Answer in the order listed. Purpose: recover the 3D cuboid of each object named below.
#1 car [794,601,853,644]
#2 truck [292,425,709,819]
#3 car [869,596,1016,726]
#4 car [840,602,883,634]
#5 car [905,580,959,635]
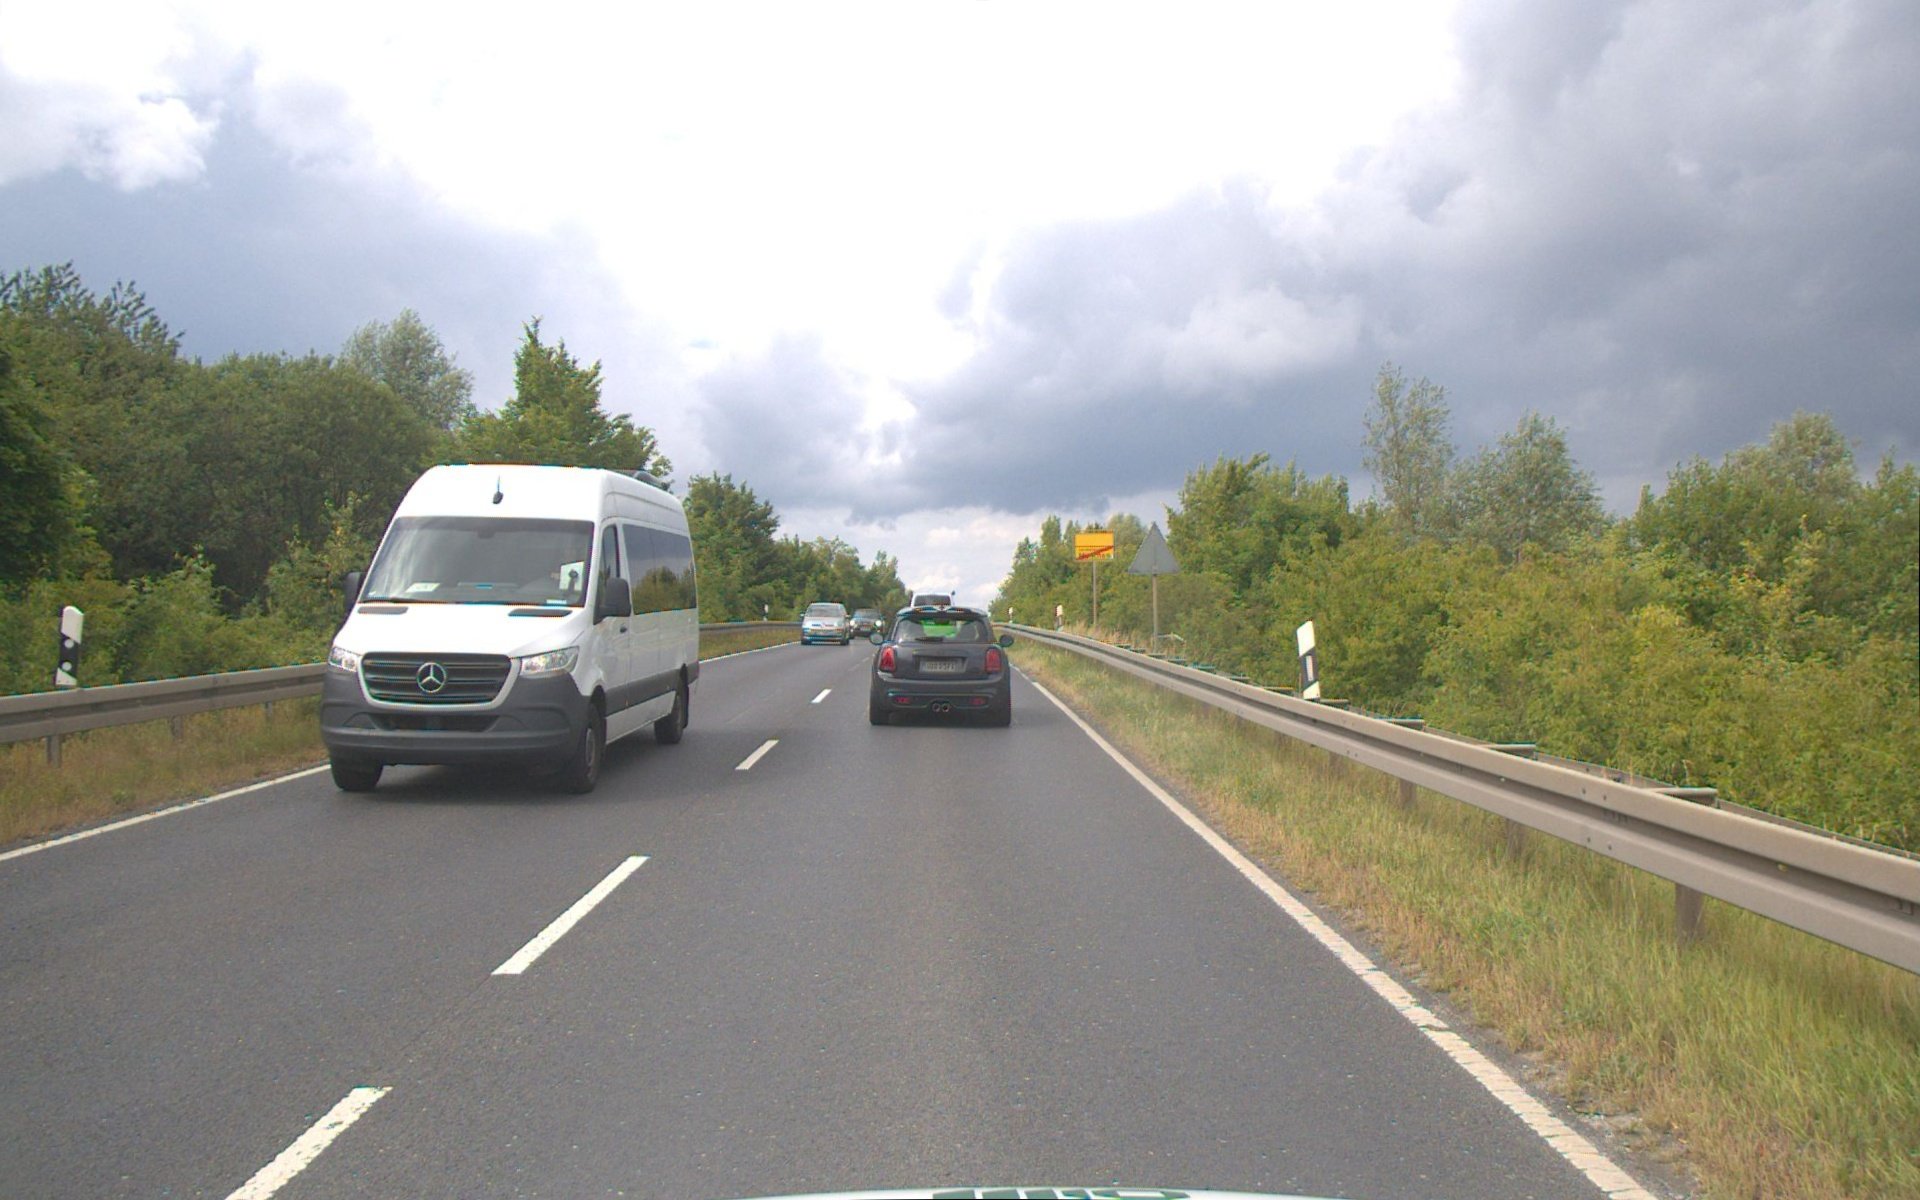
[{"bbox_3d":[-4.902,0.800,59.738,1.798,1.470,3.999,1,-1,-1],"label":"car"},{"bbox_3d":[-3.802,0.146,15.295,2.023,2.790,7.005,0,0,-1],"label":"truck"},{"bbox_3d":[-0.214,0.707,21.310,1.696,1.481,4.000,1,0,0],"label":"car"},{"bbox_3d":[-4.672,0.855,78.568,1.798,1.445,3.999,1,-1,0],"label":"car"},{"bbox_3d":[-1.084,0.274,63.311,1.981,2.048,3.999,0,0,-1],"label":"car"}]
